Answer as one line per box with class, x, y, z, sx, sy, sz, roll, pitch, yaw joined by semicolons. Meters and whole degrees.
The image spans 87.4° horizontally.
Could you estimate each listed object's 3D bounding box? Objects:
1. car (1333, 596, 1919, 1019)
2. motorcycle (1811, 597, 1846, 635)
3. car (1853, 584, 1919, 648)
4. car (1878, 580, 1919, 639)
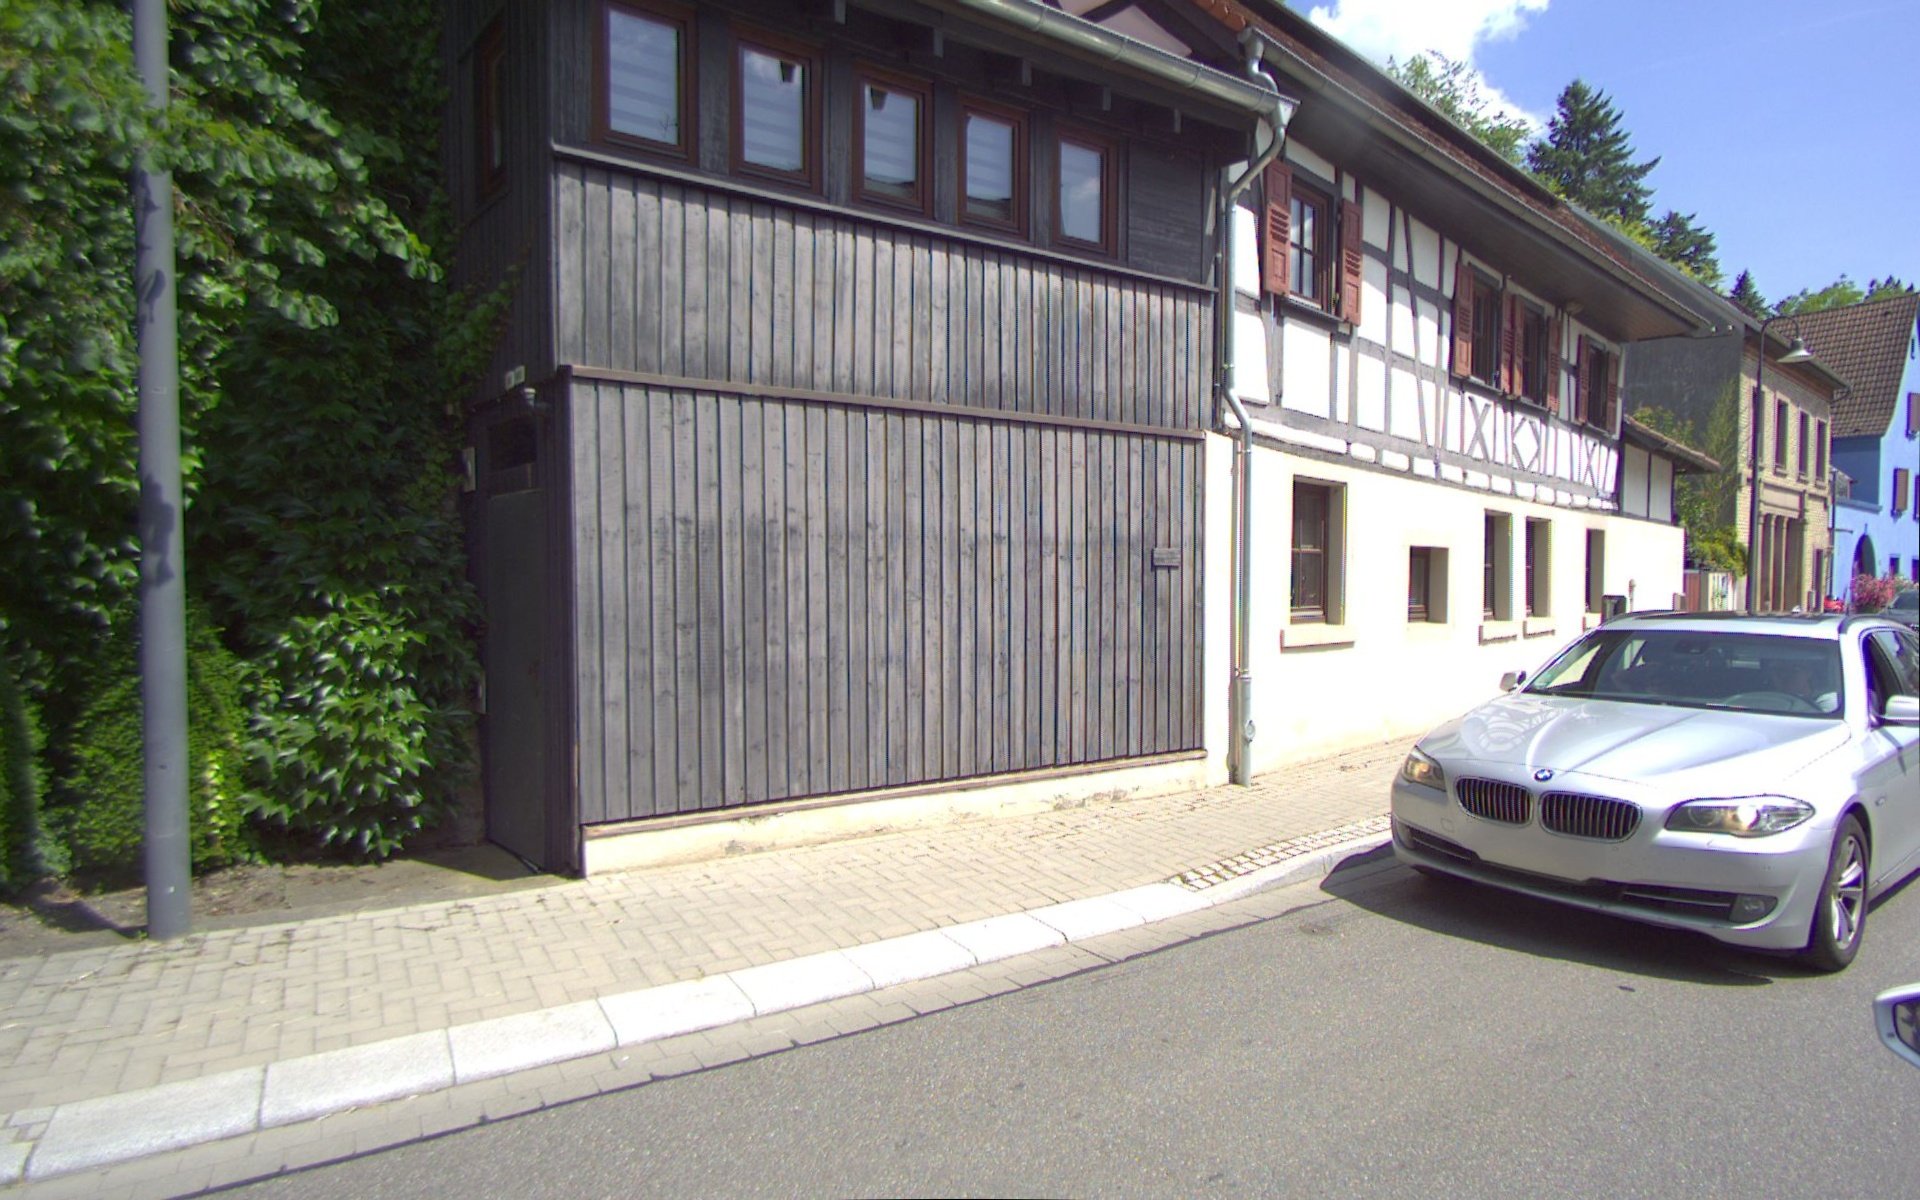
car;4.263;0.751;5.764;4.572;1.520;1.881;0;0;-38
motorcycle;25.054;0.441;28.960;1.844;1.014;0.414;-1;6;-41
car;24.044;0.376;25.101;4.509;1.485;1.940;0;2;-41
car;27.807;0.253;28.440;4.626;1.484;1.870;-2;6;-38
